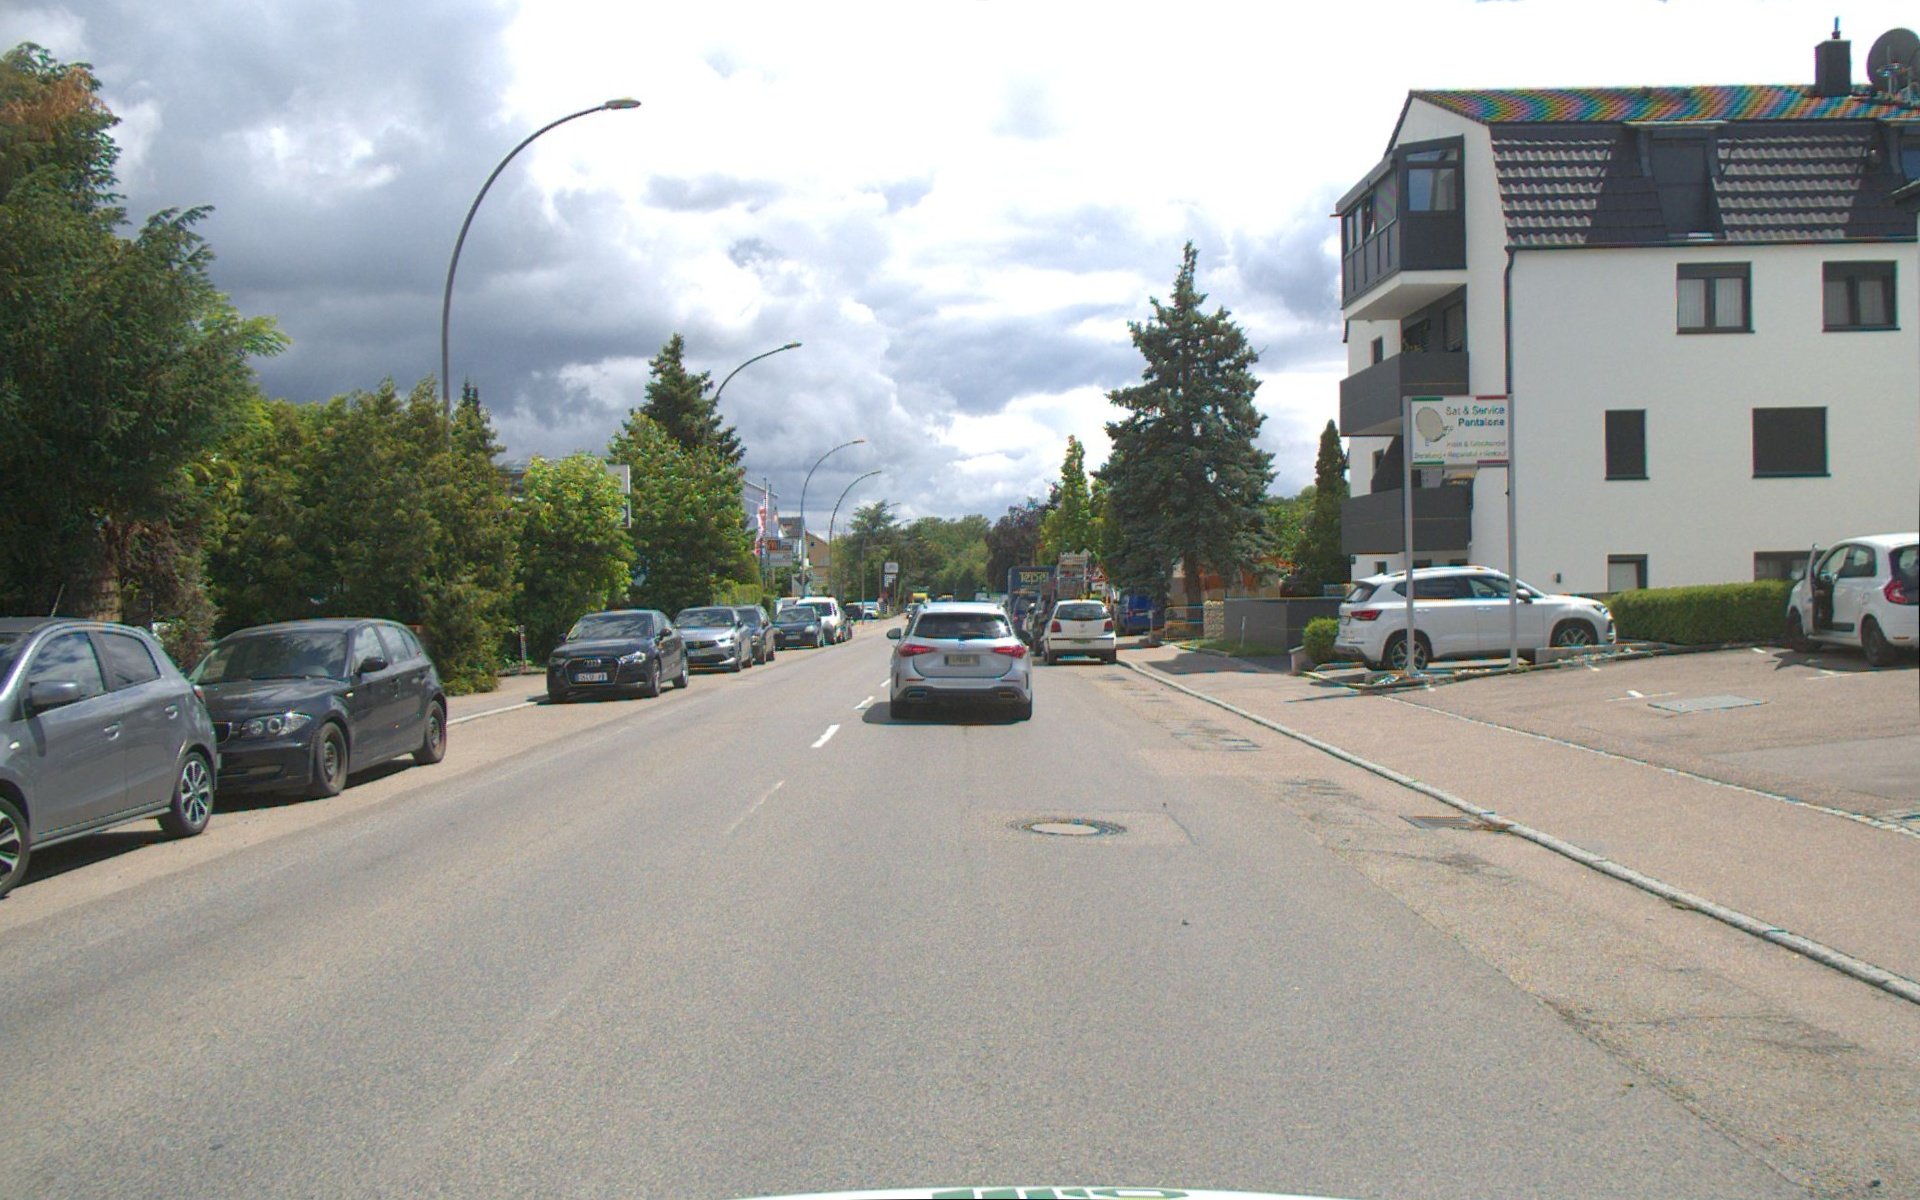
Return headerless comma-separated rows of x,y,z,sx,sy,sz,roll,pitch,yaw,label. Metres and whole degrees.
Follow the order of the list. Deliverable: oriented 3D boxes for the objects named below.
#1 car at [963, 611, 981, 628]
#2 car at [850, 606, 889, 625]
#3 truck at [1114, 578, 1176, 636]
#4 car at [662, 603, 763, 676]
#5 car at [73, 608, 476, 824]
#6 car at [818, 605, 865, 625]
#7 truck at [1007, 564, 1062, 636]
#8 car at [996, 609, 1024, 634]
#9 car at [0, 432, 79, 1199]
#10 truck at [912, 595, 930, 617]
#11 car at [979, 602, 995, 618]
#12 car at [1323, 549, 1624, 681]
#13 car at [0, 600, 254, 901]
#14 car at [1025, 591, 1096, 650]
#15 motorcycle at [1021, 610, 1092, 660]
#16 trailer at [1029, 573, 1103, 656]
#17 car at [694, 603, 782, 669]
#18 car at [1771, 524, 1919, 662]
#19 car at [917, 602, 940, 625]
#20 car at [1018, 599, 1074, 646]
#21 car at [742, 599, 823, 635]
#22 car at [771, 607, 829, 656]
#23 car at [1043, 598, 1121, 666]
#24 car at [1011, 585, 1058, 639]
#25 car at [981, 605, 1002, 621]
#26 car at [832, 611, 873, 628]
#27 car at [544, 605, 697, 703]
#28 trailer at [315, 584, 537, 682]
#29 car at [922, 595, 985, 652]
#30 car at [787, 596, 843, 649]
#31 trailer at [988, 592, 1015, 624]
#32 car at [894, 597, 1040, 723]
1.218,1.995,170.153,1.720,1.585,4.000,-1,0,0,car
-9.944,1.729,181.782,4.192,1.868,1.990,-1,-3,-1,car
7.674,0.249,68.948,1.792,2.117,5.385,-4,1,-1,truck
-5.531,0.841,37.346,1.685,1.457,4.198,-3,0,-1,car
-5.716,0.868,14.430,1.629,1.460,4.338,-3,0,0,car
-11.715,1.507,164.182,4.535,1.661,2.196,-4,0,-3,car
3.392,0.007,76.192,2.273,3.151,6.042,1,0,1,truck
3.549,1.495,116.405,1.901,1.599,4.447,-2,0,2,car
-2.815,0.591,1.578,1.629,1.827,4.337,-2,0,-1,car
-5.200,0.761,220.895,2.032,2.863,7.079,-2,0,1,truck
3.639,1.319,222.562,2.100,2.019,5.261,-2,0,1,car
8.069,0.223,26.260,4.107,1.682,1.867,-5,0,0,car
-5.802,0.837,9.591,1.629,1.537,3.944,-4,0,0,car
3.165,0.626,52.944,1.836,1.757,4.711,-2,0,-1,car
2.515,0.897,43.094,1.802,1.231,0.708,-2,0,-35,motorcycle
2.935,0.387,46.422,1.736,2.182,4.114,-2,0,0,trailer
-5.619,0.876,42.355,1.685,1.519,4.734,-2,0,-1,car
11.946,-0.156,21.210,1.597,1.545,3.668,-4,1,7,car
-2.400,1.022,127.354,1.708,1.656,4.355,0,0,0,car
3.023,0.778,58.617,1.737,1.534,4.000,-2,0,0,car
-10.373,0.974,96.923,4.559,2.006,2.114,-1,0,-3,car
-5.584,1.064,58.104,1.606,1.512,3.999,-4,0,-1,car
2.901,0.722,39.855,1.684,1.457,3.985,-3,0,2,car
3.165,0.494,70.595,1.835,2.207,4.464,1,0,1,car
3.084,1.252,163.635,1.756,1.475,4.361,-2,0,-2,car
-11.433,2.089,176.734,4.191,1.594,1.991,-2,-3,0,car
-5.646,0.850,28.000,1.629,1.439,4.338,-2,0,0,car
-17.118,1.038,53.311,6.115,2.698,2.732,-3,0,-1,trailer
-0.221,0.666,48.805,1.720,1.585,3.998,-1,0,-2,car
-5.559,0.839,63.933,1.708,1.870,4.355,-4,0,-1,car
3.181,0.637,127.817,1.902,2.334,4.444,-2,0,-1,trailer
0.030,0.712,21.896,1.748,1.510,4.315,0,0,-1,car
